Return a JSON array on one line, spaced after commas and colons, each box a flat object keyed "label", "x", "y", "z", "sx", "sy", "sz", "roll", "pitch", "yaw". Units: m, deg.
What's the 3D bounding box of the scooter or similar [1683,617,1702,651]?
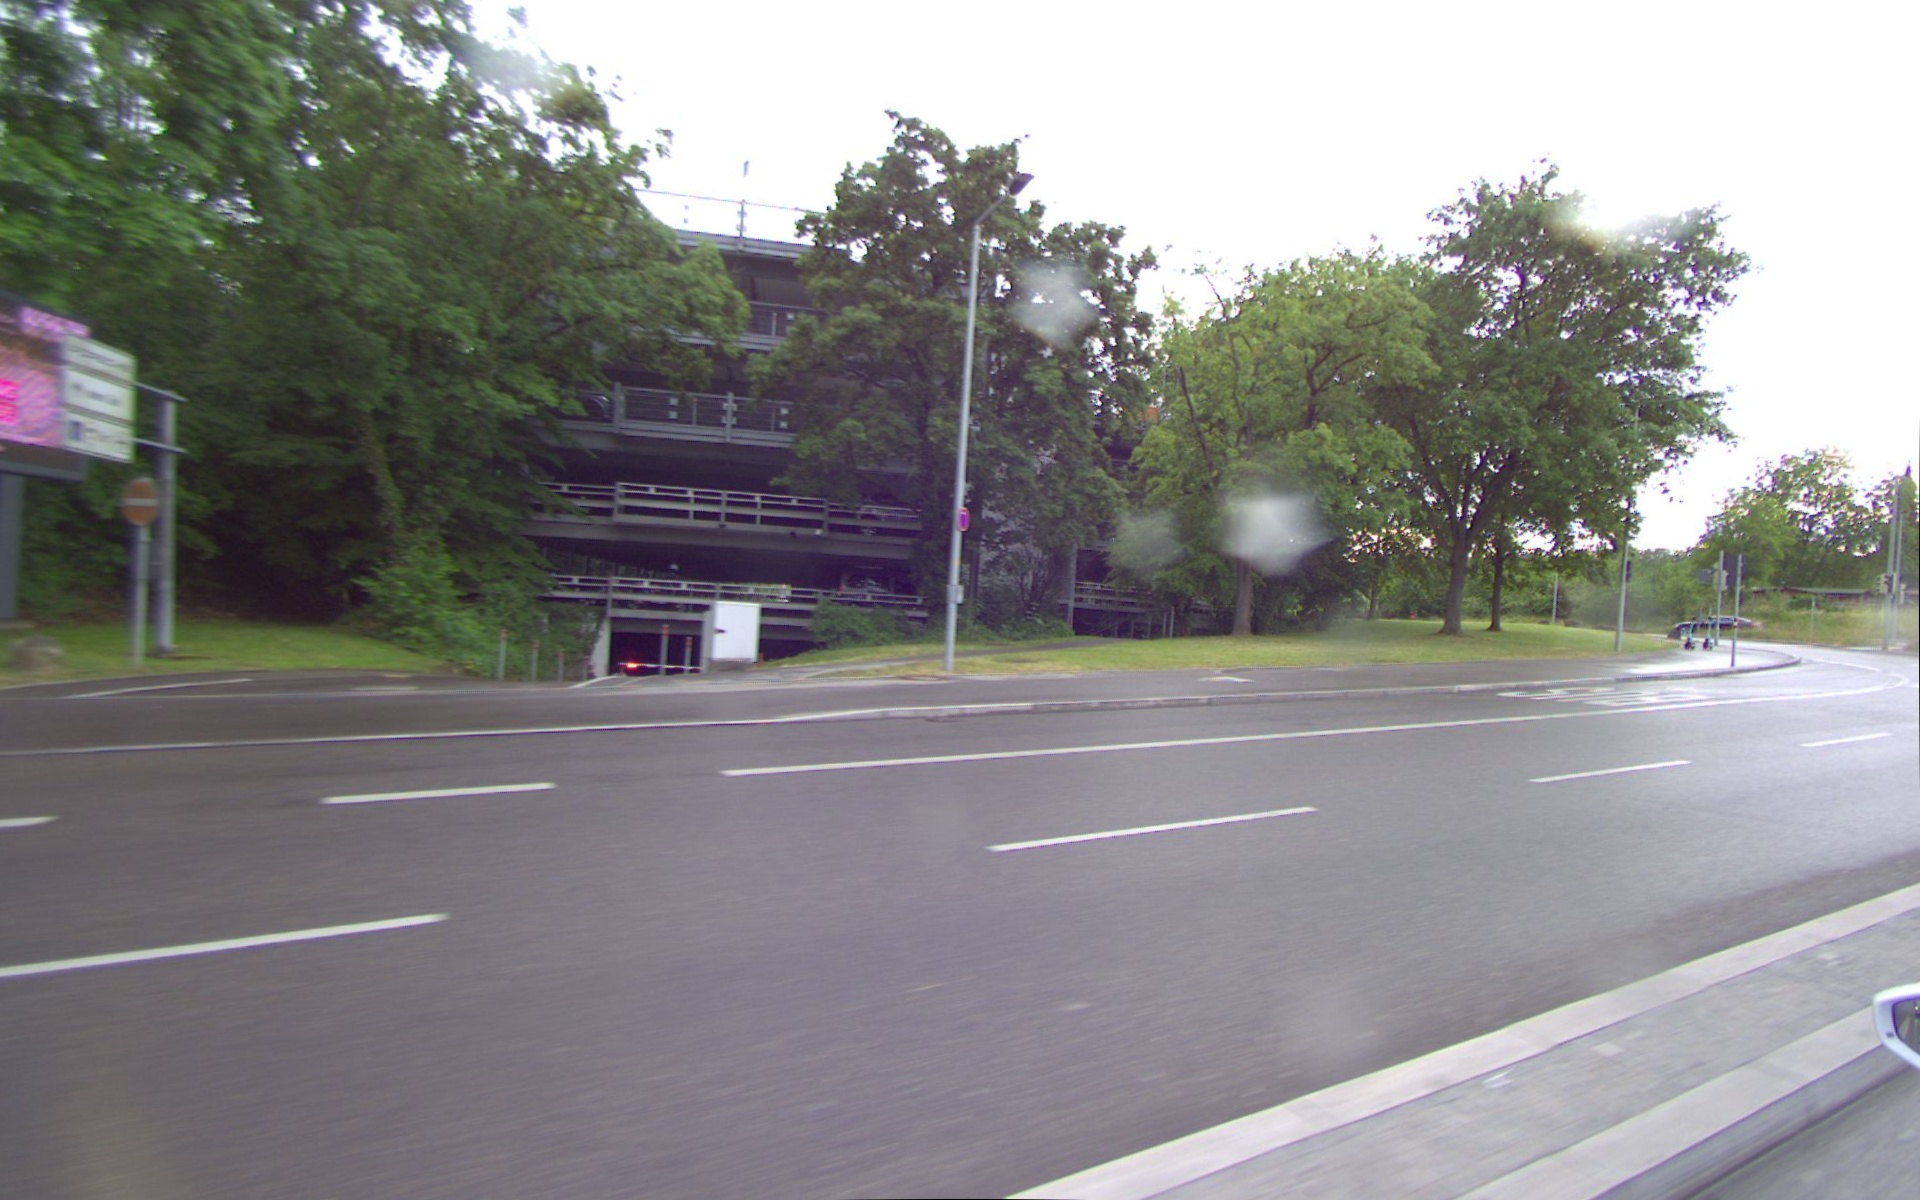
[{"label": "scooter or similar", "x": 27.303, "y": 1.272, "z": 37.448, "sx": 1.298, "sy": 1.234, "sz": 0.308, "roll": 0, "pitch": 2, "yaw": -44}]

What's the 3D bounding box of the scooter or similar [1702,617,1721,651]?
[{"label": "scooter or similar", "x": 28.707, "y": 1.287, "z": 38.367, "sx": 1.298, "sy": 1.234, "sz": 0.308, "roll": 0, "pitch": 2, "yaw": -43}]

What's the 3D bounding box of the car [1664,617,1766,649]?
[{"label": "car", "x": 47.349, "y": 2.052, "z": 63.065, "sx": 2.151, "sy": 1.604, "sz": 4.619, "roll": 3, "pitch": 2, "yaw": -34}]
